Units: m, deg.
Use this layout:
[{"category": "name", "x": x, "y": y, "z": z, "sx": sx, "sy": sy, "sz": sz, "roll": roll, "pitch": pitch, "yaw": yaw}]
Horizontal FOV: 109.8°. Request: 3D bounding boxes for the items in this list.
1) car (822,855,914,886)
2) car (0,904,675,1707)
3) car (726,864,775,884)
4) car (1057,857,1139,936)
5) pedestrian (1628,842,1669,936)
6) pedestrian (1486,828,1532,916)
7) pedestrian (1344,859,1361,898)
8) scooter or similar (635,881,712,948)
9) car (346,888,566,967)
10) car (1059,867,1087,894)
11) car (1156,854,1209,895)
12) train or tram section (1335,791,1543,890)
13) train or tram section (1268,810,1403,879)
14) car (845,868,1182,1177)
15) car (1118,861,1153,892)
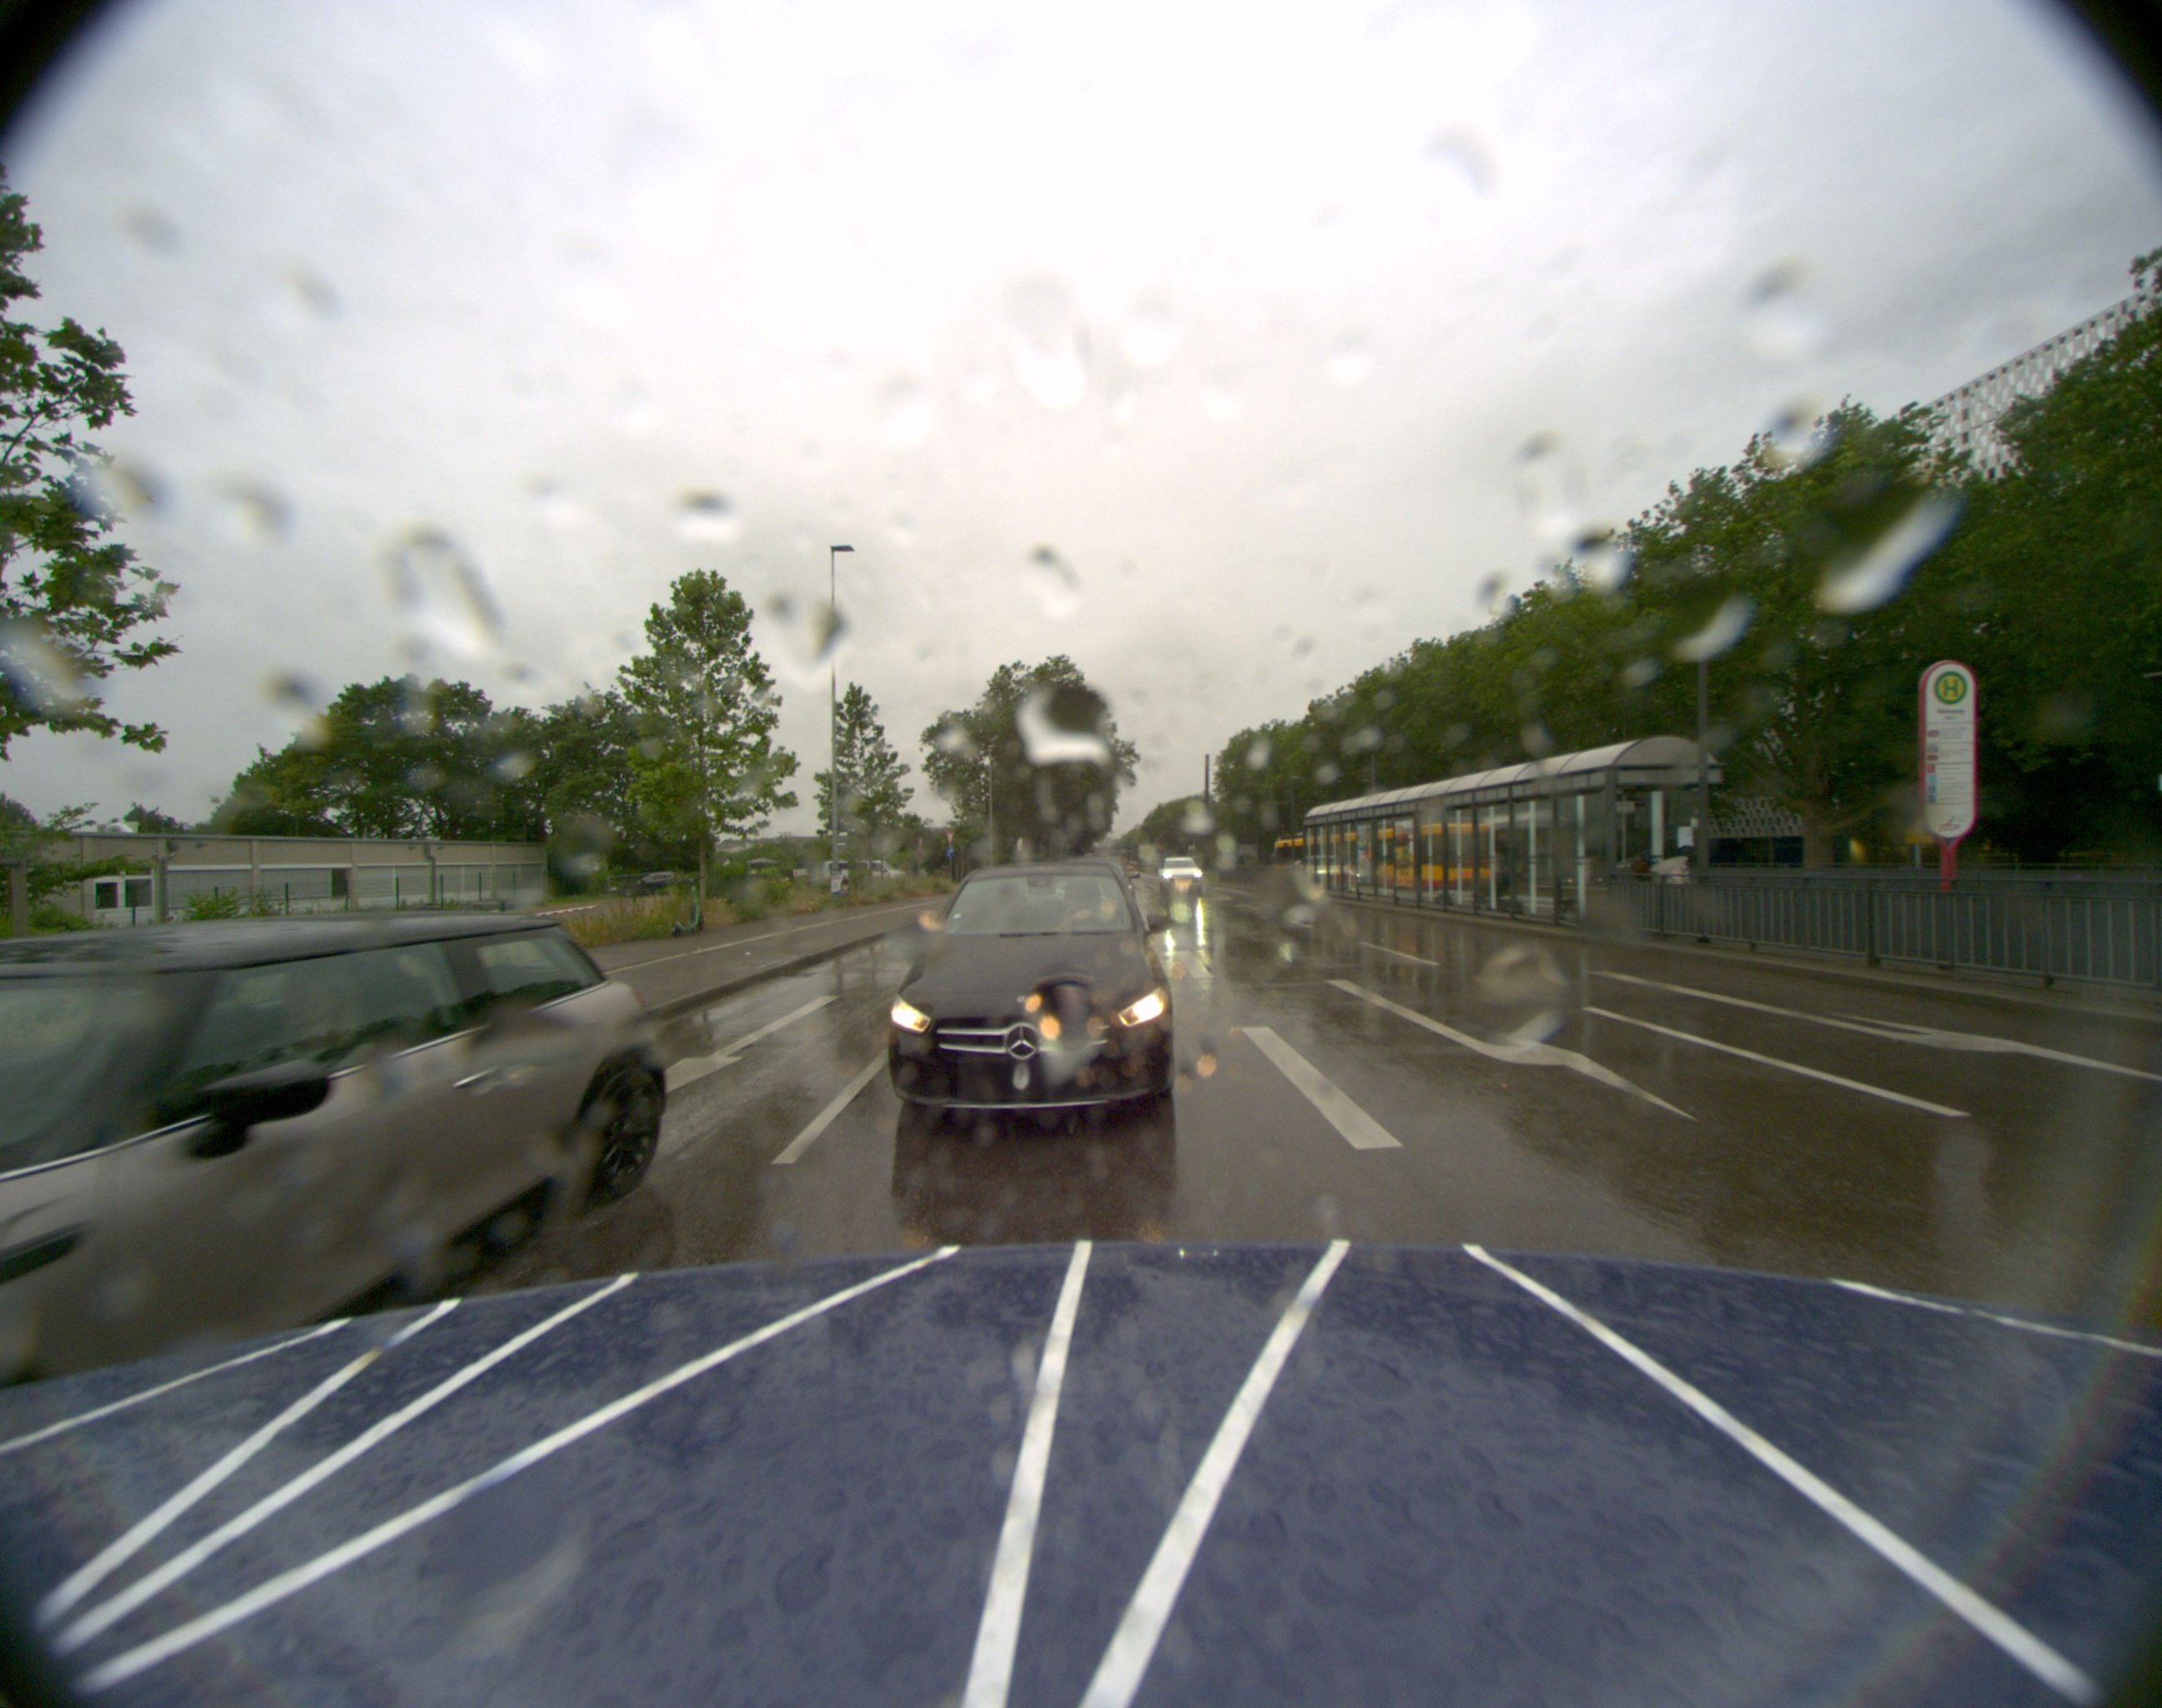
[{"category": "car", "x": -13.411, "y": 1.010, "z": 48.123, "sx": 5.174, "sy": 1.715, "sz": 2.006, "roll": -3, "pitch": 1, "yaw": -1}, {"category": "car", "x": -3.021, "y": 1.028, "z": 2.046, "sx": 1.707, "sy": 1.499, "sz": 3.879, "roll": -2, "pitch": 0, "yaw": 0}, {"category": "car", "x": -28.223, "y": 1.713, "z": 64.906, "sx": 3.552, "sy": 1.574, "sz": 1.345, "roll": -3, "pitch": 1, "yaw": 6}, {"category": "car", "x": 0.414, "y": 0.899, "z": 17.782, "sx": 1.689, "sy": 1.611, "sz": 4.000, "roll": -1, "pitch": 0, "yaw": 2}, {"category": "pedestrian", "x": 9.173, "y": 0.561, "z": 12.294, "sx": 0.321, "sy": 1.485, "sz": 0.415, "roll": -3, "pitch": 1, "yaw": 6}, {"category": "pedestrian", "x": 9.295, "y": 0.378, "z": 16.533, "sx": 0.655, "sy": 1.860, "sz": 0.773, "roll": -2, "pitch": 1, "yaw": 17}, {"category": "pedestrian", "x": 8.701, "y": 0.781, "z": 24.366, "sx": 0.458, "sy": 1.229, "sz": 0.467, "roll": -2, "pitch": 2, "yaw": 15}, {"category": "scooter or similar", "x": -8.185, "y": 1.179, "z": 15.369, "sx": 0.367, "sy": 1.192, "sz": 1.913, "roll": -2, "pitch": 0, "yaw": 4}, {"category": "car", "x": -12.023, "y": 1.396, "z": 14.708, "sx": 3.243, "sy": 1.281, "sz": 1.345, "roll": -3, "pitch": 1, "yaw": 6}, {"category": "car", "x": -0.474, "y": 1.605, "z": 47.387, "sx": 1.557, "sy": 1.500, "sz": 3.618, "roll": -2, "pitch": 0, "yaw": 2}, {"category": "car", "x": 4.892, "y": 0.961, "z": 37.135, "sx": 1.935, "sy": 1.765, "sz": 4.663, "roll": -3, "pitch": 0, "yaw": 1}, {"category": "train or tram section", "x": 16.621, "y": -0.569, "z": 37.162, "sx": 3.751, "sy": 3.817, "sz": 13.253, "roll": -3, "pitch": 0, "yaw": 0}, {"category": "train or tram section", "x": 16.597, "y": -0.587, "z": 51.616, "sx": 3.751, "sy": 3.777, "sz": 15.570, "roll": -3, "pitch": 0, "yaw": 0}, {"category": "car", "x": -0.252, "y": 0.947, "z": 6.144, "sx": 1.758, "sy": 1.572, "sz": 4.170, "roll": -2, "pitch": -1, "yaw": 3}, {"category": "car", "x": 2.932, "y": 1.188, "z": 41.753, "sx": 1.557, "sy": 1.541, "sz": 3.717, "roll": -3, "pitch": 0, "yaw": 0}]
